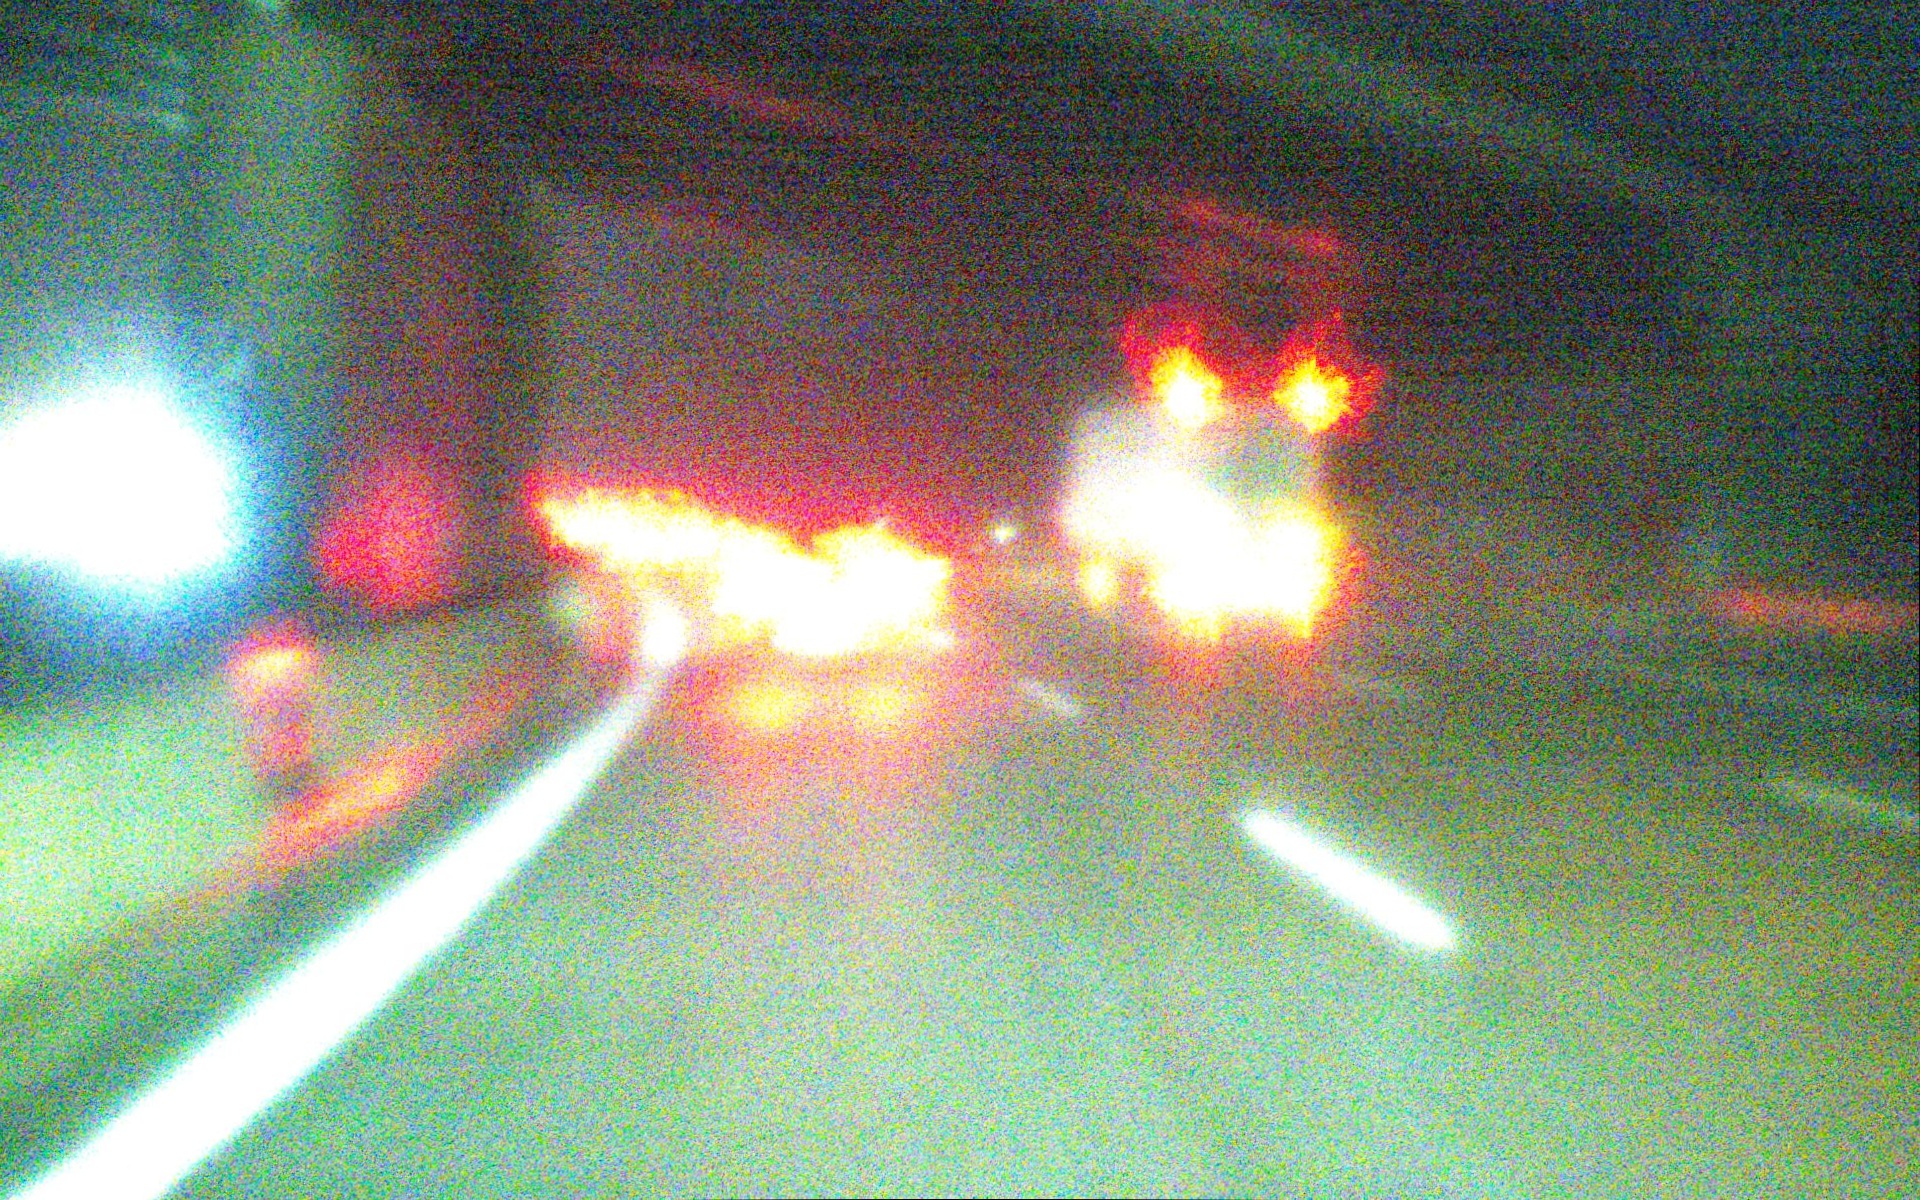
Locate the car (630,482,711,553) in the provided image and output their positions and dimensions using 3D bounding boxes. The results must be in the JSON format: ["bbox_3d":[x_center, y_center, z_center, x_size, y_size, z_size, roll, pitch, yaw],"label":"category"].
[{"bbox_3d":[-8.435,-2.377,99.845,1.993,2.007,4.001,0,1,-10],"label":"car"}]

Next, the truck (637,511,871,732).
[{"bbox_3d":[-2.262,0.139,39.624,2.145,2.070,6.604,5,2,0],"label":"truck"}]

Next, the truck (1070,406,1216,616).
[{"bbox_3d":[3.819,-1.893,72.776,2.710,4.226,5.293,1,2,0],"label":"truck"}]

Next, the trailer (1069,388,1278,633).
[{"bbox_3d":[3.940,-1.807,66.678,2.739,4.233,13.374,-1,2,-2],"label":"trailer"}]
